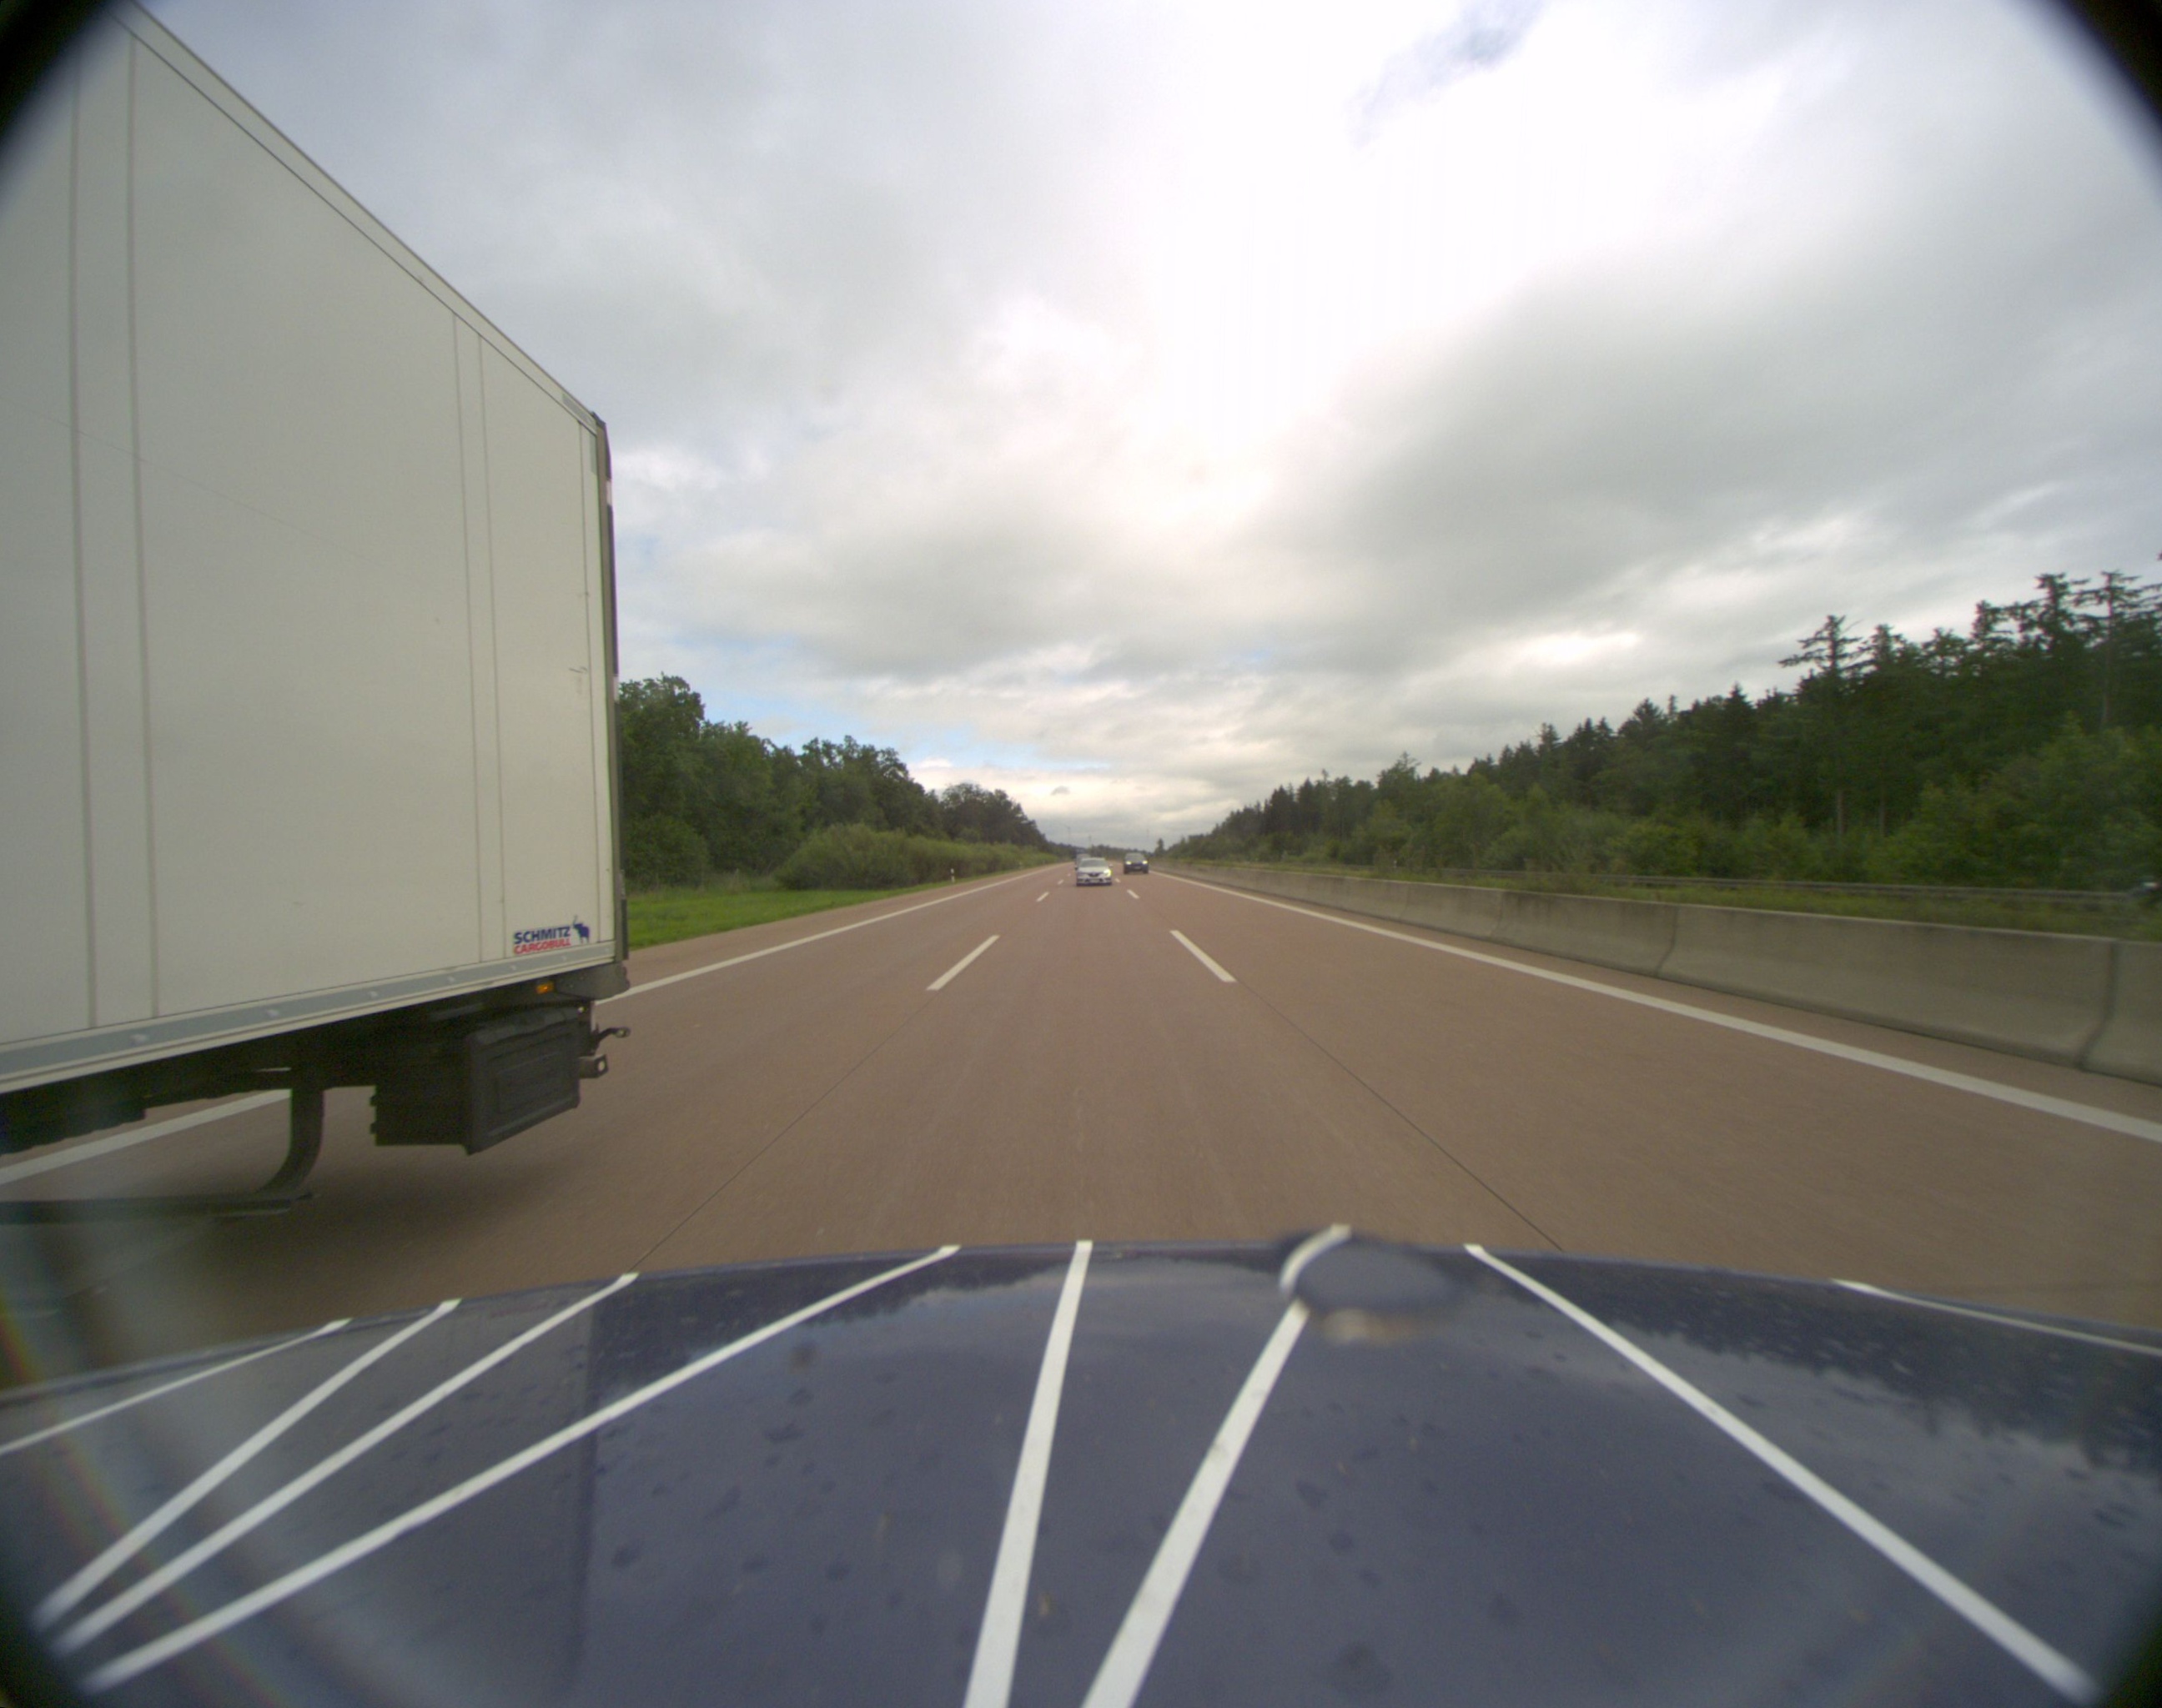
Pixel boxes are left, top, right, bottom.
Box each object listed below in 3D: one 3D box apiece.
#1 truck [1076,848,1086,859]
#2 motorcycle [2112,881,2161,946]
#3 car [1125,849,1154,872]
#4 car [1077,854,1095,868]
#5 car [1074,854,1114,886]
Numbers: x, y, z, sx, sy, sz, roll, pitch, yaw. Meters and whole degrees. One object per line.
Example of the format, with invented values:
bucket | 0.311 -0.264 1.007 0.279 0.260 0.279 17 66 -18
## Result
truck | 0.059 -0.184 263.427 2.956 3.705 7.950 -5 0 1
motorcycle | 20.208 1.115 13.593 0.602 1.149 2.154 -3 0 1
car | 4.689 0.493 61.786 1.998 1.689 5.252 -2 0 1
car | 0.612 0.748 86.578 1.986 1.499 4.052 -2 0 1
car | 0.745 0.819 39.994 1.923 1.515 4.001 -2 0 3
